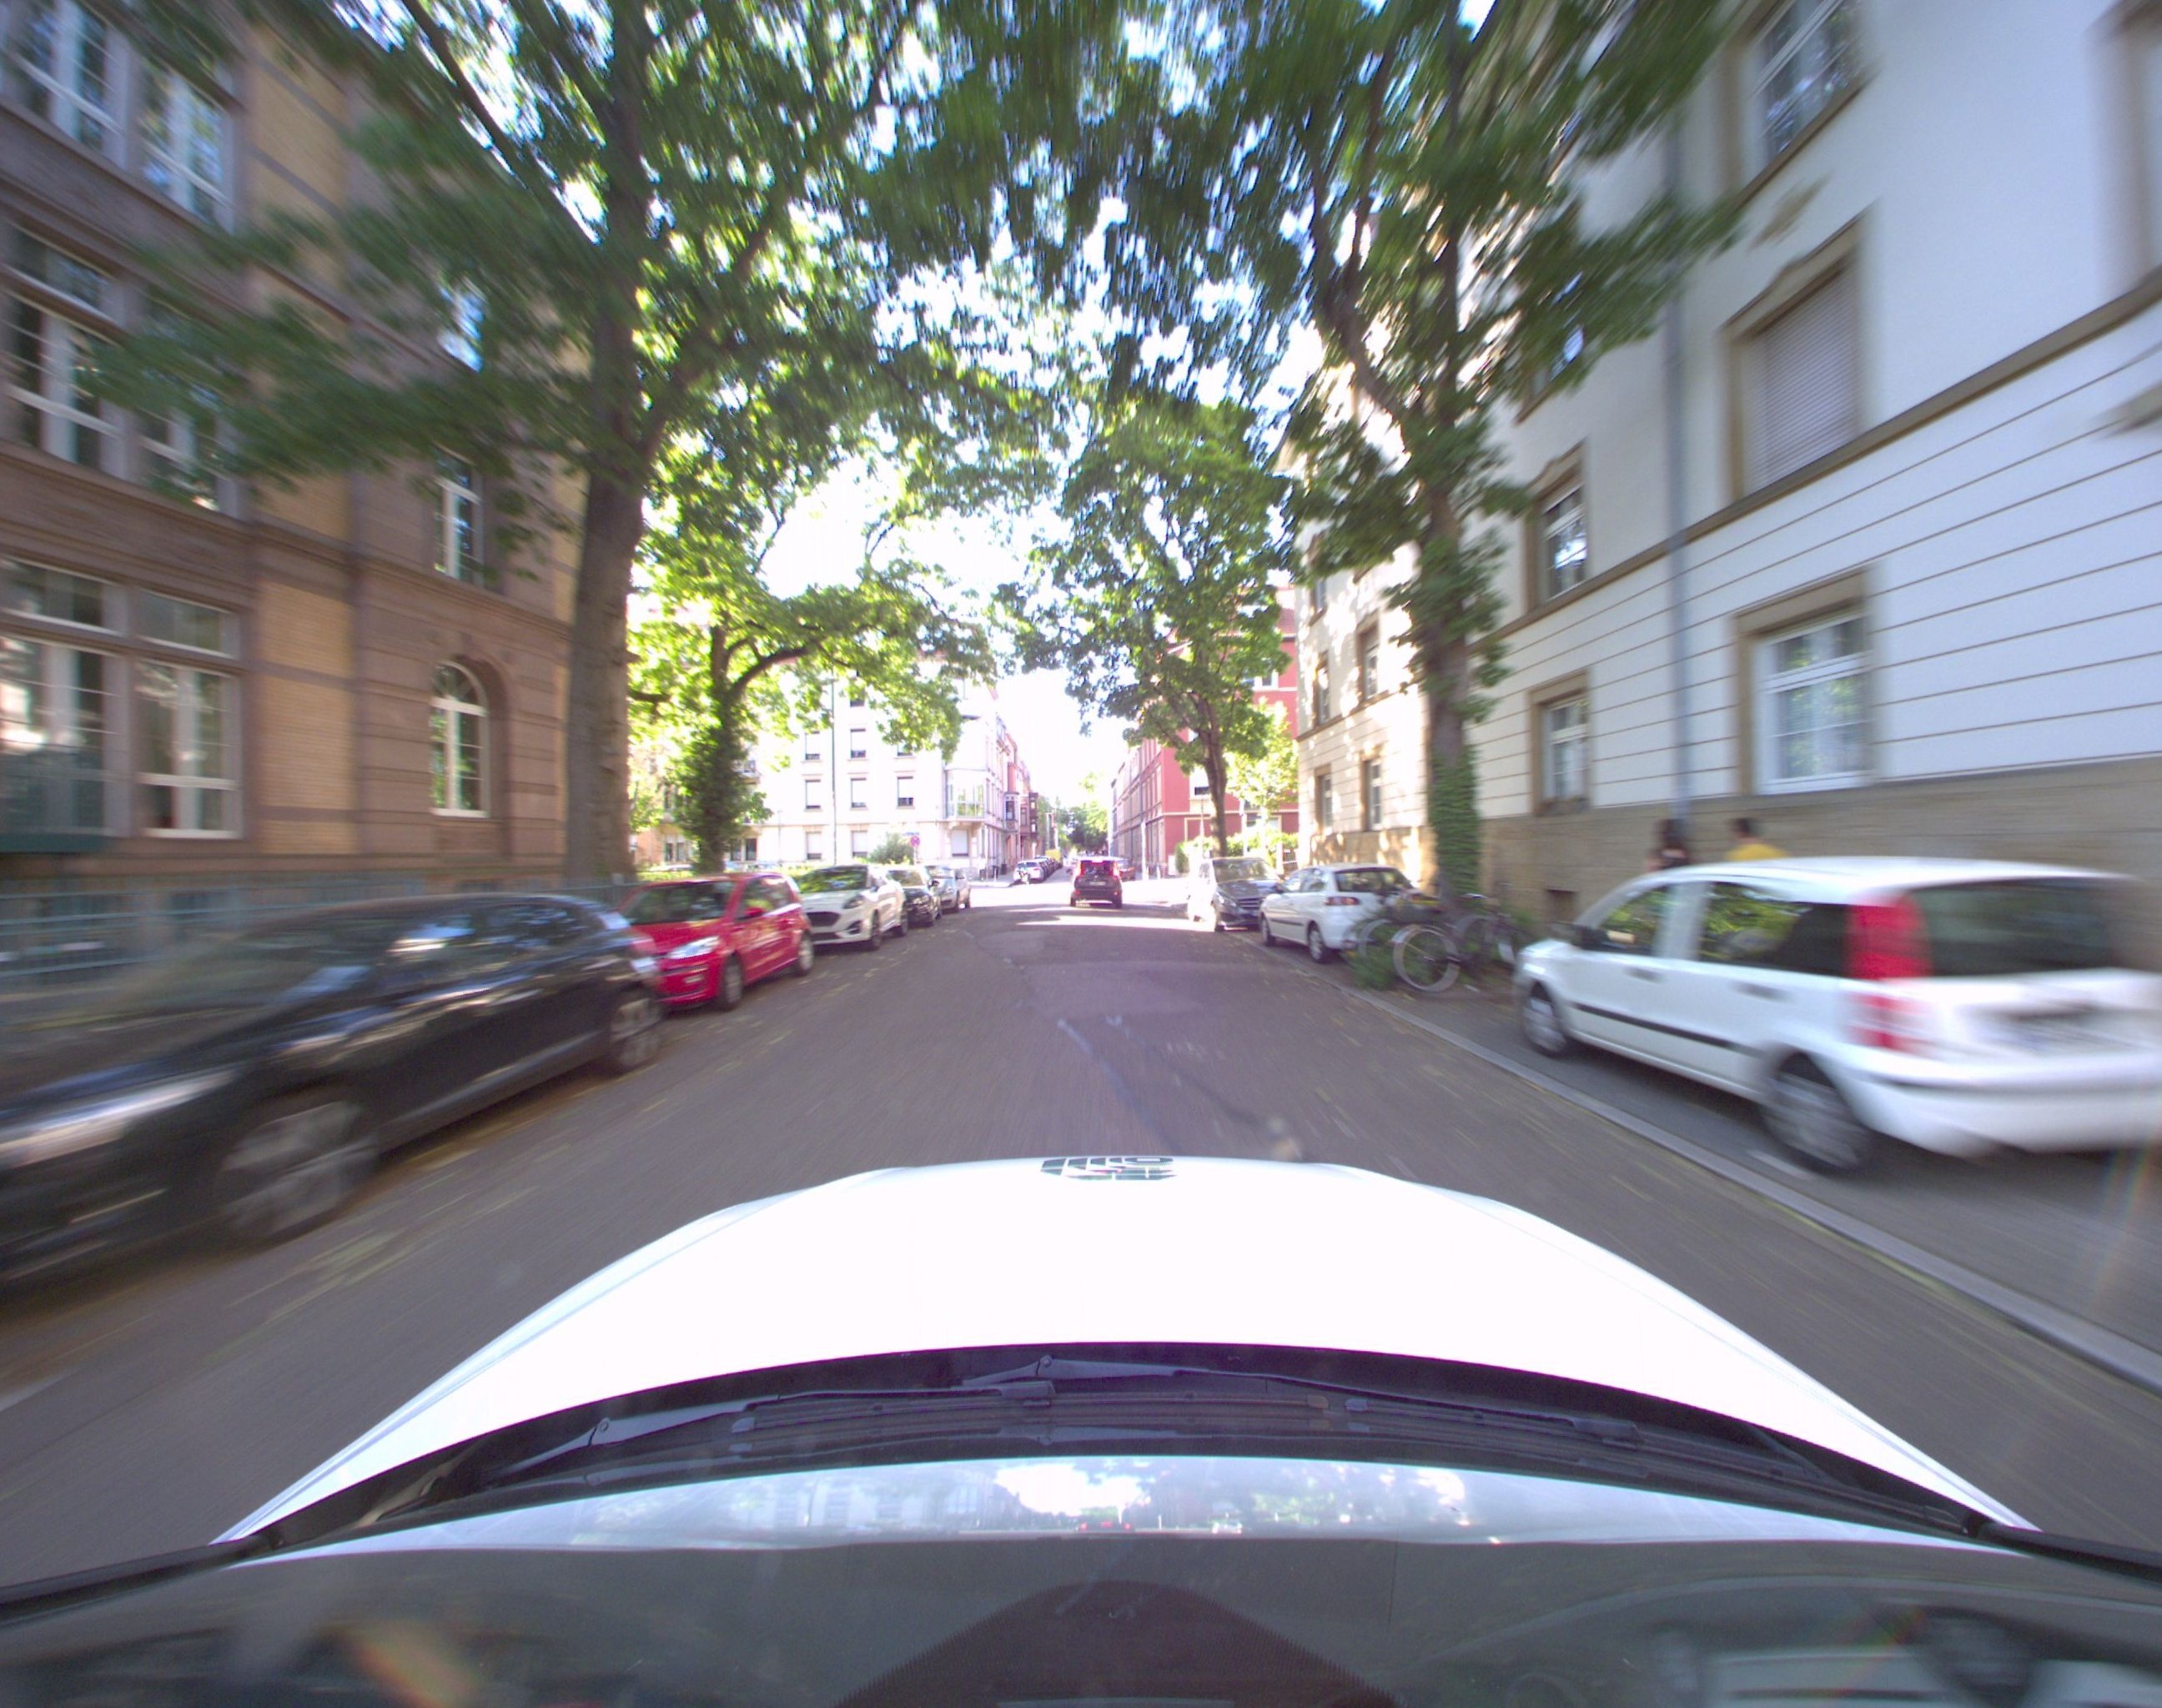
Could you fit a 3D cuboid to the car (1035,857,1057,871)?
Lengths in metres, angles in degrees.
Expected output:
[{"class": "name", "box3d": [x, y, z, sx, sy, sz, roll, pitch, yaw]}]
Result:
[{"class": "car", "box3d": [-3.512, 1.033, 82.840, 1.955, 1.224, 3.925, -5, 0, 1]}]

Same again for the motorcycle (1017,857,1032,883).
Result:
[{"class": "motorcycle", "box3d": [-3.392, 0.940, 48.697, 0.696, 1.460, 1.745, -2, 0, -10]}]

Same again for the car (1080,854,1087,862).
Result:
[{"class": "car", "box3d": [0.565, 0.771, 172.163, 1.363, 1.618, 3.413, -1, 0, 1]}]

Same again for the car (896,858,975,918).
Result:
[{"class": "car", "box3d": [-4.412, 0.988, 25.279, 1.692, 1.550, 3.917, -4, 0, -1]}]

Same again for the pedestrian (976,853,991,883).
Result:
[{"class": "pedestrian", "box3d": [-5.983, 0.835, 49.832, 0.718, 1.839, 0.628, 0, 0, 10]}]

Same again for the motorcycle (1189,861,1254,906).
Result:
[{"class": "motorcycle", "box3d": [4.215, 0.884, 24.356, 1.837, 1.266, 0.507, -2, 0, 14]}]

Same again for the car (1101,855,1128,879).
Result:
[{"class": "car", "box3d": [2.189, 0.838, 54.117, 1.657, 1.505, 3.757, 0, 0, 1]}]

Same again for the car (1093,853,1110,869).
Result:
[{"class": "car", "box3d": [1.951, 0.699, 78.788, 1.657, 1.505, 3.757, 0, 0, 1]}]

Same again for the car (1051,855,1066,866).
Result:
[{"class": "car", "box3d": [-3.290, 0.905, 119.866, 1.955, 1.479, 3.925, -5, 0, 1]}]

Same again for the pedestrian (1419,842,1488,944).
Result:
[{"class": "pedestrian", "box3d": [6.401, 0.657, 14.043, 0.775, 1.694, 0.874, -1, 0, -1]}]

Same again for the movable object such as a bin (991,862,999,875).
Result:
[{"class": "movable object such as a bin", "box3d": [-6.315, 1.054, 59.836, 0.510, 0.952, 0.500, -1, 0, -3]}]

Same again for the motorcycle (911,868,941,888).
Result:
[{"class": "motorcycle", "box3d": [-8.176, 1.251, 43.108, 0.683, 0.985, 1.830, 3, 1, 20]}]

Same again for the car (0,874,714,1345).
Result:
[{"class": "car", "box3d": [-4.354, 0.969, 5.038, 1.994, 1.457, 4.605, -4, 0, 0]}]

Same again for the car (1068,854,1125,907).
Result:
[{"class": "car", "box3d": [0.422, 0.785, 25.712, 1.628, 1.550, 3.262, 1, 0, -2]}]

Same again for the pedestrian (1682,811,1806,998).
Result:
[{"class": "pedestrian", "box3d": [6.335, 0.462, 7.814, 0.593, 1.701, 0.689, -2, 0, 1]}]

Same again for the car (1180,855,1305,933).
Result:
[{"class": "car", "box3d": [3.586, 0.832, 18.902, 1.785, 1.551, 4.404, -1, 0, -3]}]

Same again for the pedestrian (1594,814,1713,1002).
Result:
[{"class": "pedestrian", "box3d": [5.594, 0.502, 8.000, 0.518, 1.735, 0.878, -2, 0, 1]}]

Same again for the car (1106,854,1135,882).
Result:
[{"class": "car", "box3d": [2.370, 0.819, 49.626, 1.657, 1.669, 3.757, 0, 0, 1]}]

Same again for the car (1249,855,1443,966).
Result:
[{"class": "car", "box3d": [4.066, 0.773, 13.160, 1.608, 1.478, 3.864, -1, 0, -5]}]

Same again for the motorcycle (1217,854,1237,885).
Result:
[{"class": "motorcycle", "box3d": [7.239, 0.750, 40.527, 0.822, 1.404, 2.562, -1, 2, 8]}]

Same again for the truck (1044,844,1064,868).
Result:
[{"class": "truck", "box3d": [-3.447, 0.242, 104.605, 2.063, 2.925, 5.068, -5, 0, 0]}]

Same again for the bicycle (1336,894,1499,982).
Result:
[{"class": "bicycle", "box3d": [4.150, 1.019, 10.131, 1.710, 0.949, 0.733, -2, 0, -1]}]

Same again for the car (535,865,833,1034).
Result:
[{"class": "car", "box3d": [-4.471, 0.953, 9.938, 1.597, 1.460, 4.026, -4, 0, -1]}]

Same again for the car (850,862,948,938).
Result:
[{"class": "car", "box3d": [-4.366, 1.034, 20.180, 1.744, 1.474, 4.455, -5, 0, -6]}]

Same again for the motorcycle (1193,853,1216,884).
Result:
[{"class": "motorcycle", "box3d": [6.255, 0.718, 41.161, 1.013, 1.404, 2.200, -1, 2, 12]}]

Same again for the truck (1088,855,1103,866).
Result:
[{"class": "truck", "box3d": [1.997, 0.879, 113.008, 1.987, 1.456, 3.999, -1, 0, 0]}]

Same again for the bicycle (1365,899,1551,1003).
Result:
[{"class": "bicycle", "box3d": [4.091, 1.043, 8.908, 1.764, 1.039, 0.606, -1, 0, -1]}]

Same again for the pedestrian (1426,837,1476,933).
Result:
[{"class": "pedestrian", "box3d": [6.788, 0.559, 14.950, 0.488, 1.705, 0.757, -2, 0, -2]}]

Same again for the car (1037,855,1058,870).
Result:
[{"class": "car", "box3d": [-3.725, 0.903, 90.490, 1.955, 1.479, 3.925, -5, 0, 1]}]

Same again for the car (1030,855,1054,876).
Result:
[{"class": "car", "box3d": [-3.494, 0.998, 73.553, 1.769, 1.698, 3.925, -5, 0, 1]}]

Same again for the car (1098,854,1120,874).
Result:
[{"class": "car", "box3d": [2.209, 0.765, 65.117, 1.657, 1.505, 3.757, 0, 0, 1]}]

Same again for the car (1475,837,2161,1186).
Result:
[{"class": "car", "box3d": [4.229, 0.698, 5.389, 1.515, 1.511, 3.543, -1, 0, 0]}]

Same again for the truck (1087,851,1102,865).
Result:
[{"class": "truck", "box3d": [1.925, 0.557, 118.388, 1.987, 1.992, 3.999, -1, 0, 0]}]

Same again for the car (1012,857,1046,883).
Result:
[{"class": "car", "box3d": [-3.265, 0.960, 51.996, 1.791, 1.431, 3.925, -5, 0, 1]}]

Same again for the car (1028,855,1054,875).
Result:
[{"class": "car", "box3d": [-3.348, 0.881, 68.398, 1.822, 1.479, 3.925, -5, 0, 1]}]

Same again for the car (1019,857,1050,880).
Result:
[{"class": "car", "box3d": [-3.227, 0.967, 57.082, 1.771, 1.413, 3.925, -5, 0, 1]}]

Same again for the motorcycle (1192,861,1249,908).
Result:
[{"class": "motorcycle", "box3d": [4.023, 0.873, 23.543, 1.498, 1.266, 0.619, -2, 0, -2]}]

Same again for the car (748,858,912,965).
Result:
[{"class": "car", "box3d": [-4.466, 0.929, 15.191, 1.821, 1.554, 4.129, -5, 0, -3]}]
